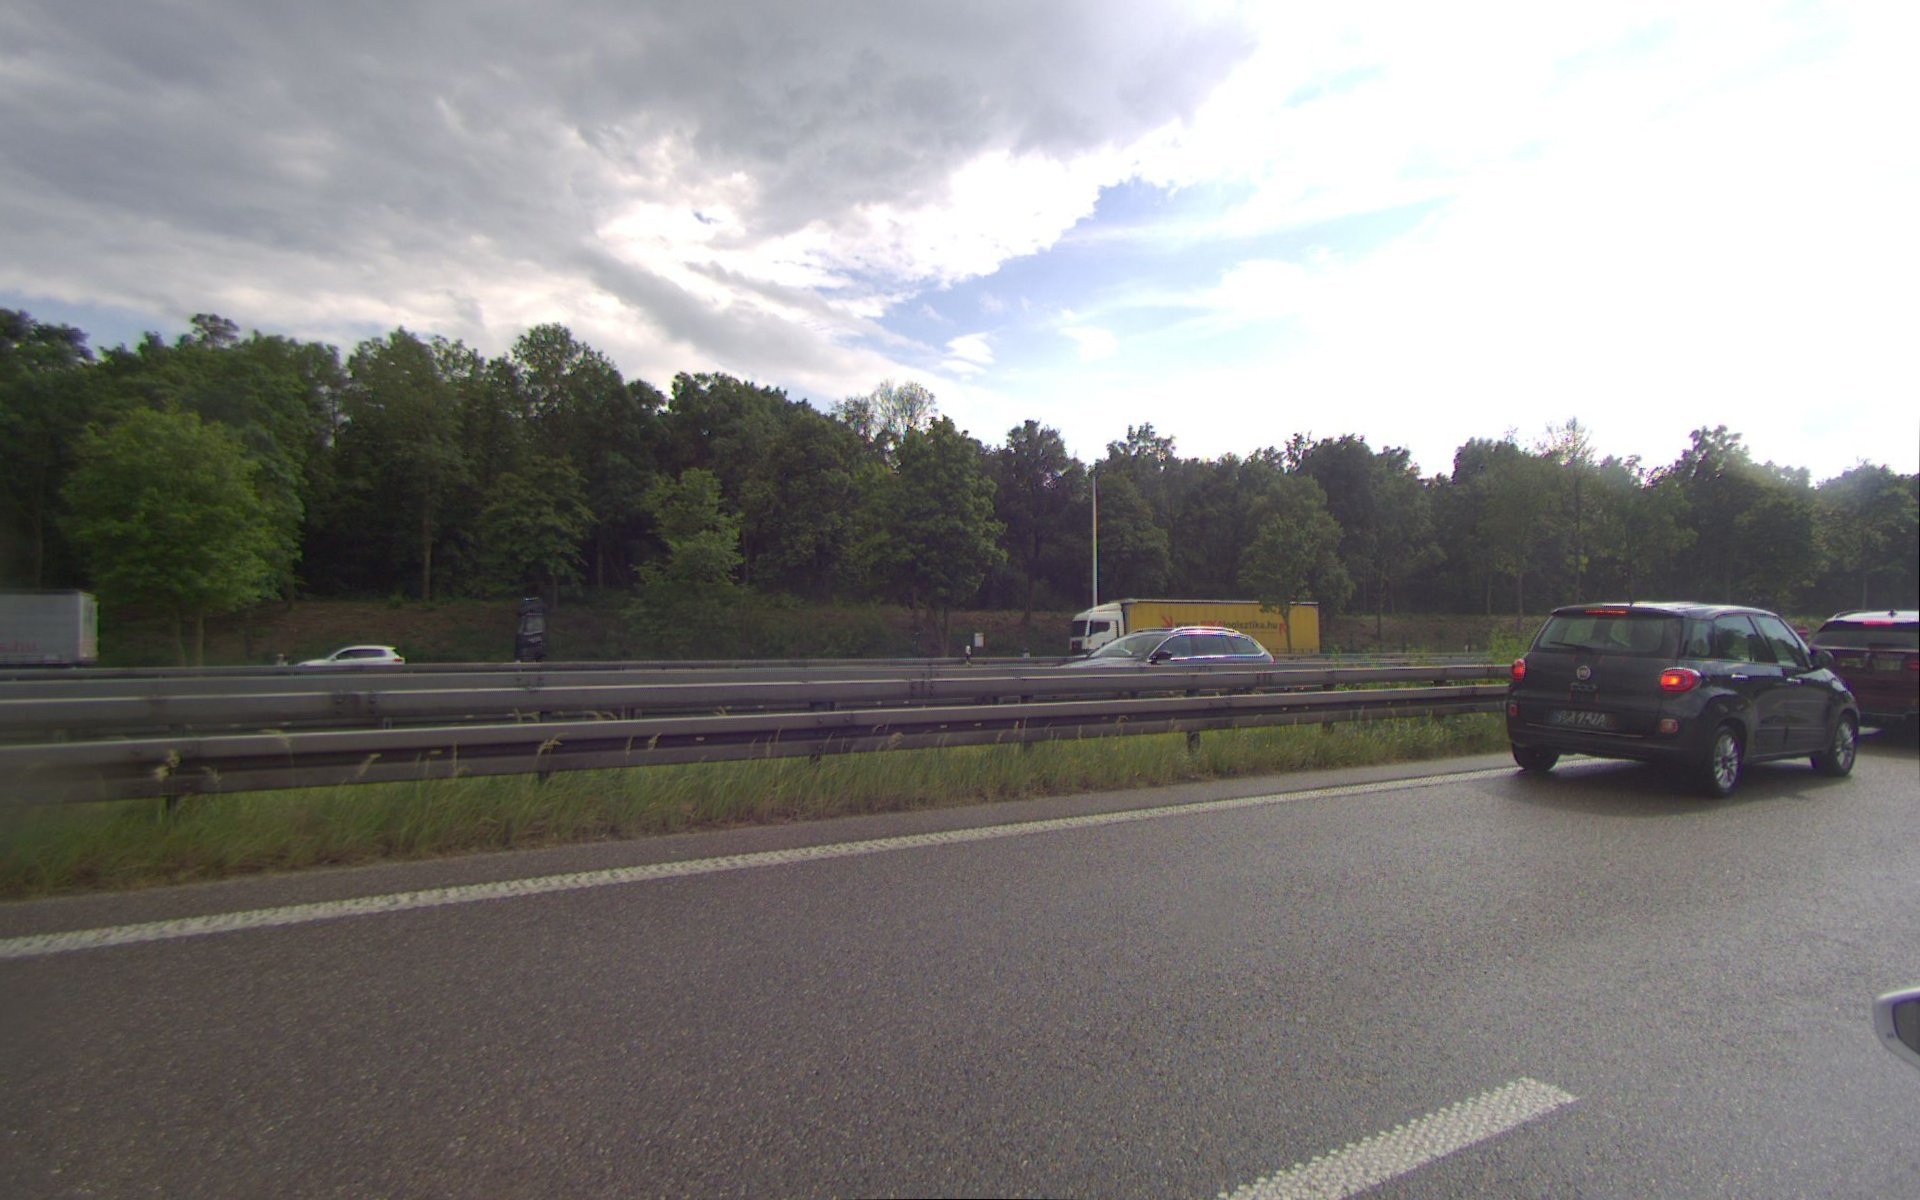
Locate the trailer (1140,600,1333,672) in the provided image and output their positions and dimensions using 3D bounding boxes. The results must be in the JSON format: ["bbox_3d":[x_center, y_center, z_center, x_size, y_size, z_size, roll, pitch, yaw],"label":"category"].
[{"bbox_3d":[17.458,2.277,63.485,11.538,4.171,3.786,2,0,-17],"label":"trailer"}]

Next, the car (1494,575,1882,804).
[{"bbox_3d":[7.156,0.761,9.786,3.931,1.829,1.683,2,0,-32],"label":"car"}]

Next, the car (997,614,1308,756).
[{"bbox_3d":[3.346,1.341,17.086,5.150,2.073,2.041,2,0,-31],"label":"car"}]

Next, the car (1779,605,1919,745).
[{"bbox_3d":[13.025,0.960,13.503,4.569,1.658,1.897,2,-2,-34],"label":"car"}]

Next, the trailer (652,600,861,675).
[{"bbox_3d":[-10.805,1.959,53.423,10.349,3.697,3.780,1,-1,-24],"label":"trailer"}]

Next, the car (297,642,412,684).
[{"bbox_3d":[-27.466,2.830,45.778,4.313,1.741,2.050,2,0,-28],"label":"car"}]

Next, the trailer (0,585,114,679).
[{"bbox_3d":[-41.780,1.217,38.930,13.187,3.697,3.771,1,-2,-30],"label":"trailer"}]

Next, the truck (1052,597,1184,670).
[{"bbox_3d":[9.540,2.038,61.016,6.933,4.171,3.786,2,0,-17],"label":"truck"}]

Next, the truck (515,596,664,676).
[{"bbox_3d":[-18.433,1.770,49.924,6.615,3.709,3.776,2,0,-25],"label":"truck"}]
